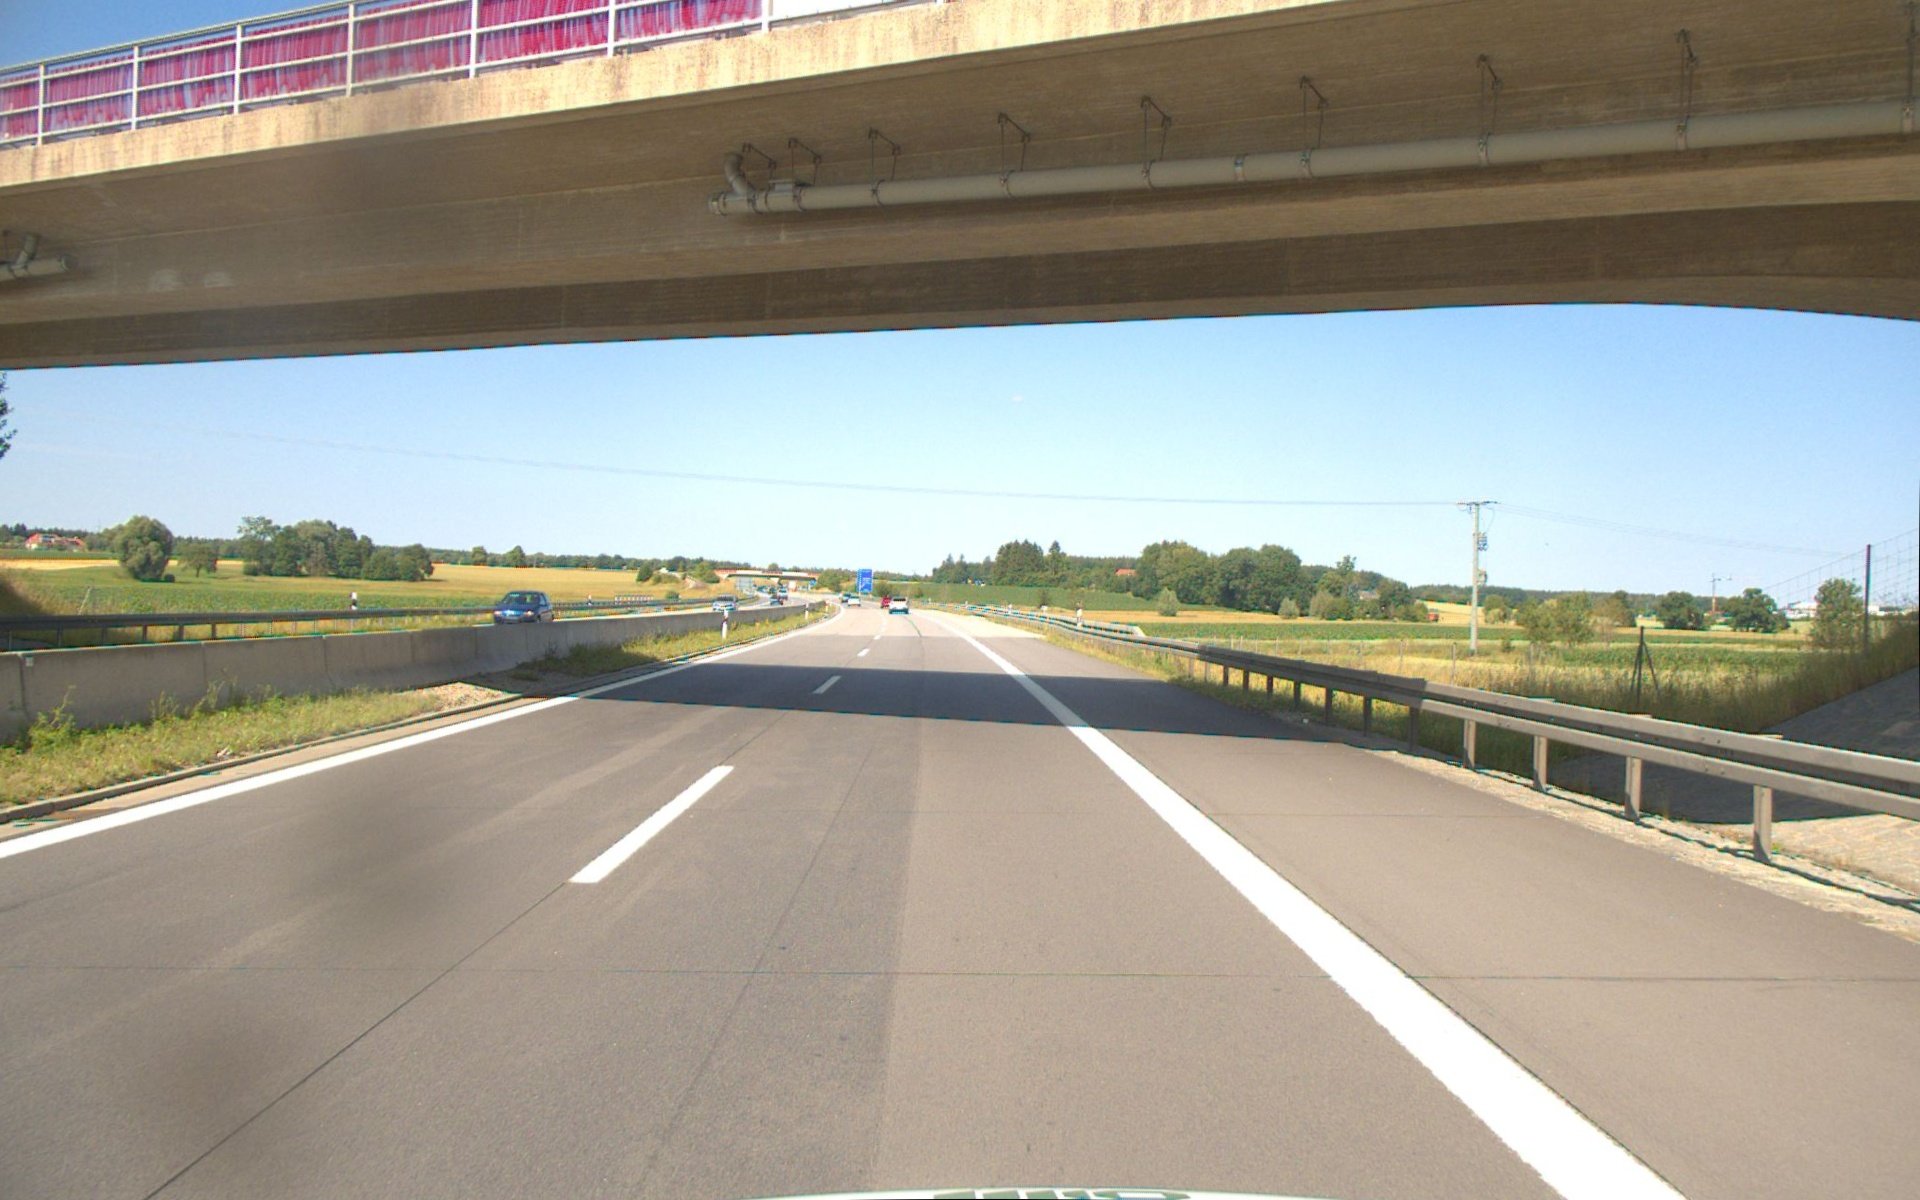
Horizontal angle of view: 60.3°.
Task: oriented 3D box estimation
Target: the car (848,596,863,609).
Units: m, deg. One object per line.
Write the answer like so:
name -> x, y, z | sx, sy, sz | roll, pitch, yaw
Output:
car -> -14.653, 0.283, 232.892 | 1.953, 1.761, 4.867 | 1, 0, -2

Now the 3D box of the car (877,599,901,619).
car -> -6.780, 0.838, 157.738 | 1.955, 1.761, 4.862 | 1, 0, -7

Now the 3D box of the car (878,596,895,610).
car -> -9.261, 0.349, 209.081 | 1.954, 1.761, 4.865 | 1, 0, -4

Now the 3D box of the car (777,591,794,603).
car -> -23.120, -0.435, 219.151 | 1.822, 1.540, 4.583 | 3, 0, -3

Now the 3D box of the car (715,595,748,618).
car -> -17.620, 0.510, 127.743 | 1.953, 1.606, 4.894 | 2, 0, -2

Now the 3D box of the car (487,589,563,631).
car -> -16.211, 0.348, 61.849 | 1.817, 1.486, 4.194 | 1, 0, -2
